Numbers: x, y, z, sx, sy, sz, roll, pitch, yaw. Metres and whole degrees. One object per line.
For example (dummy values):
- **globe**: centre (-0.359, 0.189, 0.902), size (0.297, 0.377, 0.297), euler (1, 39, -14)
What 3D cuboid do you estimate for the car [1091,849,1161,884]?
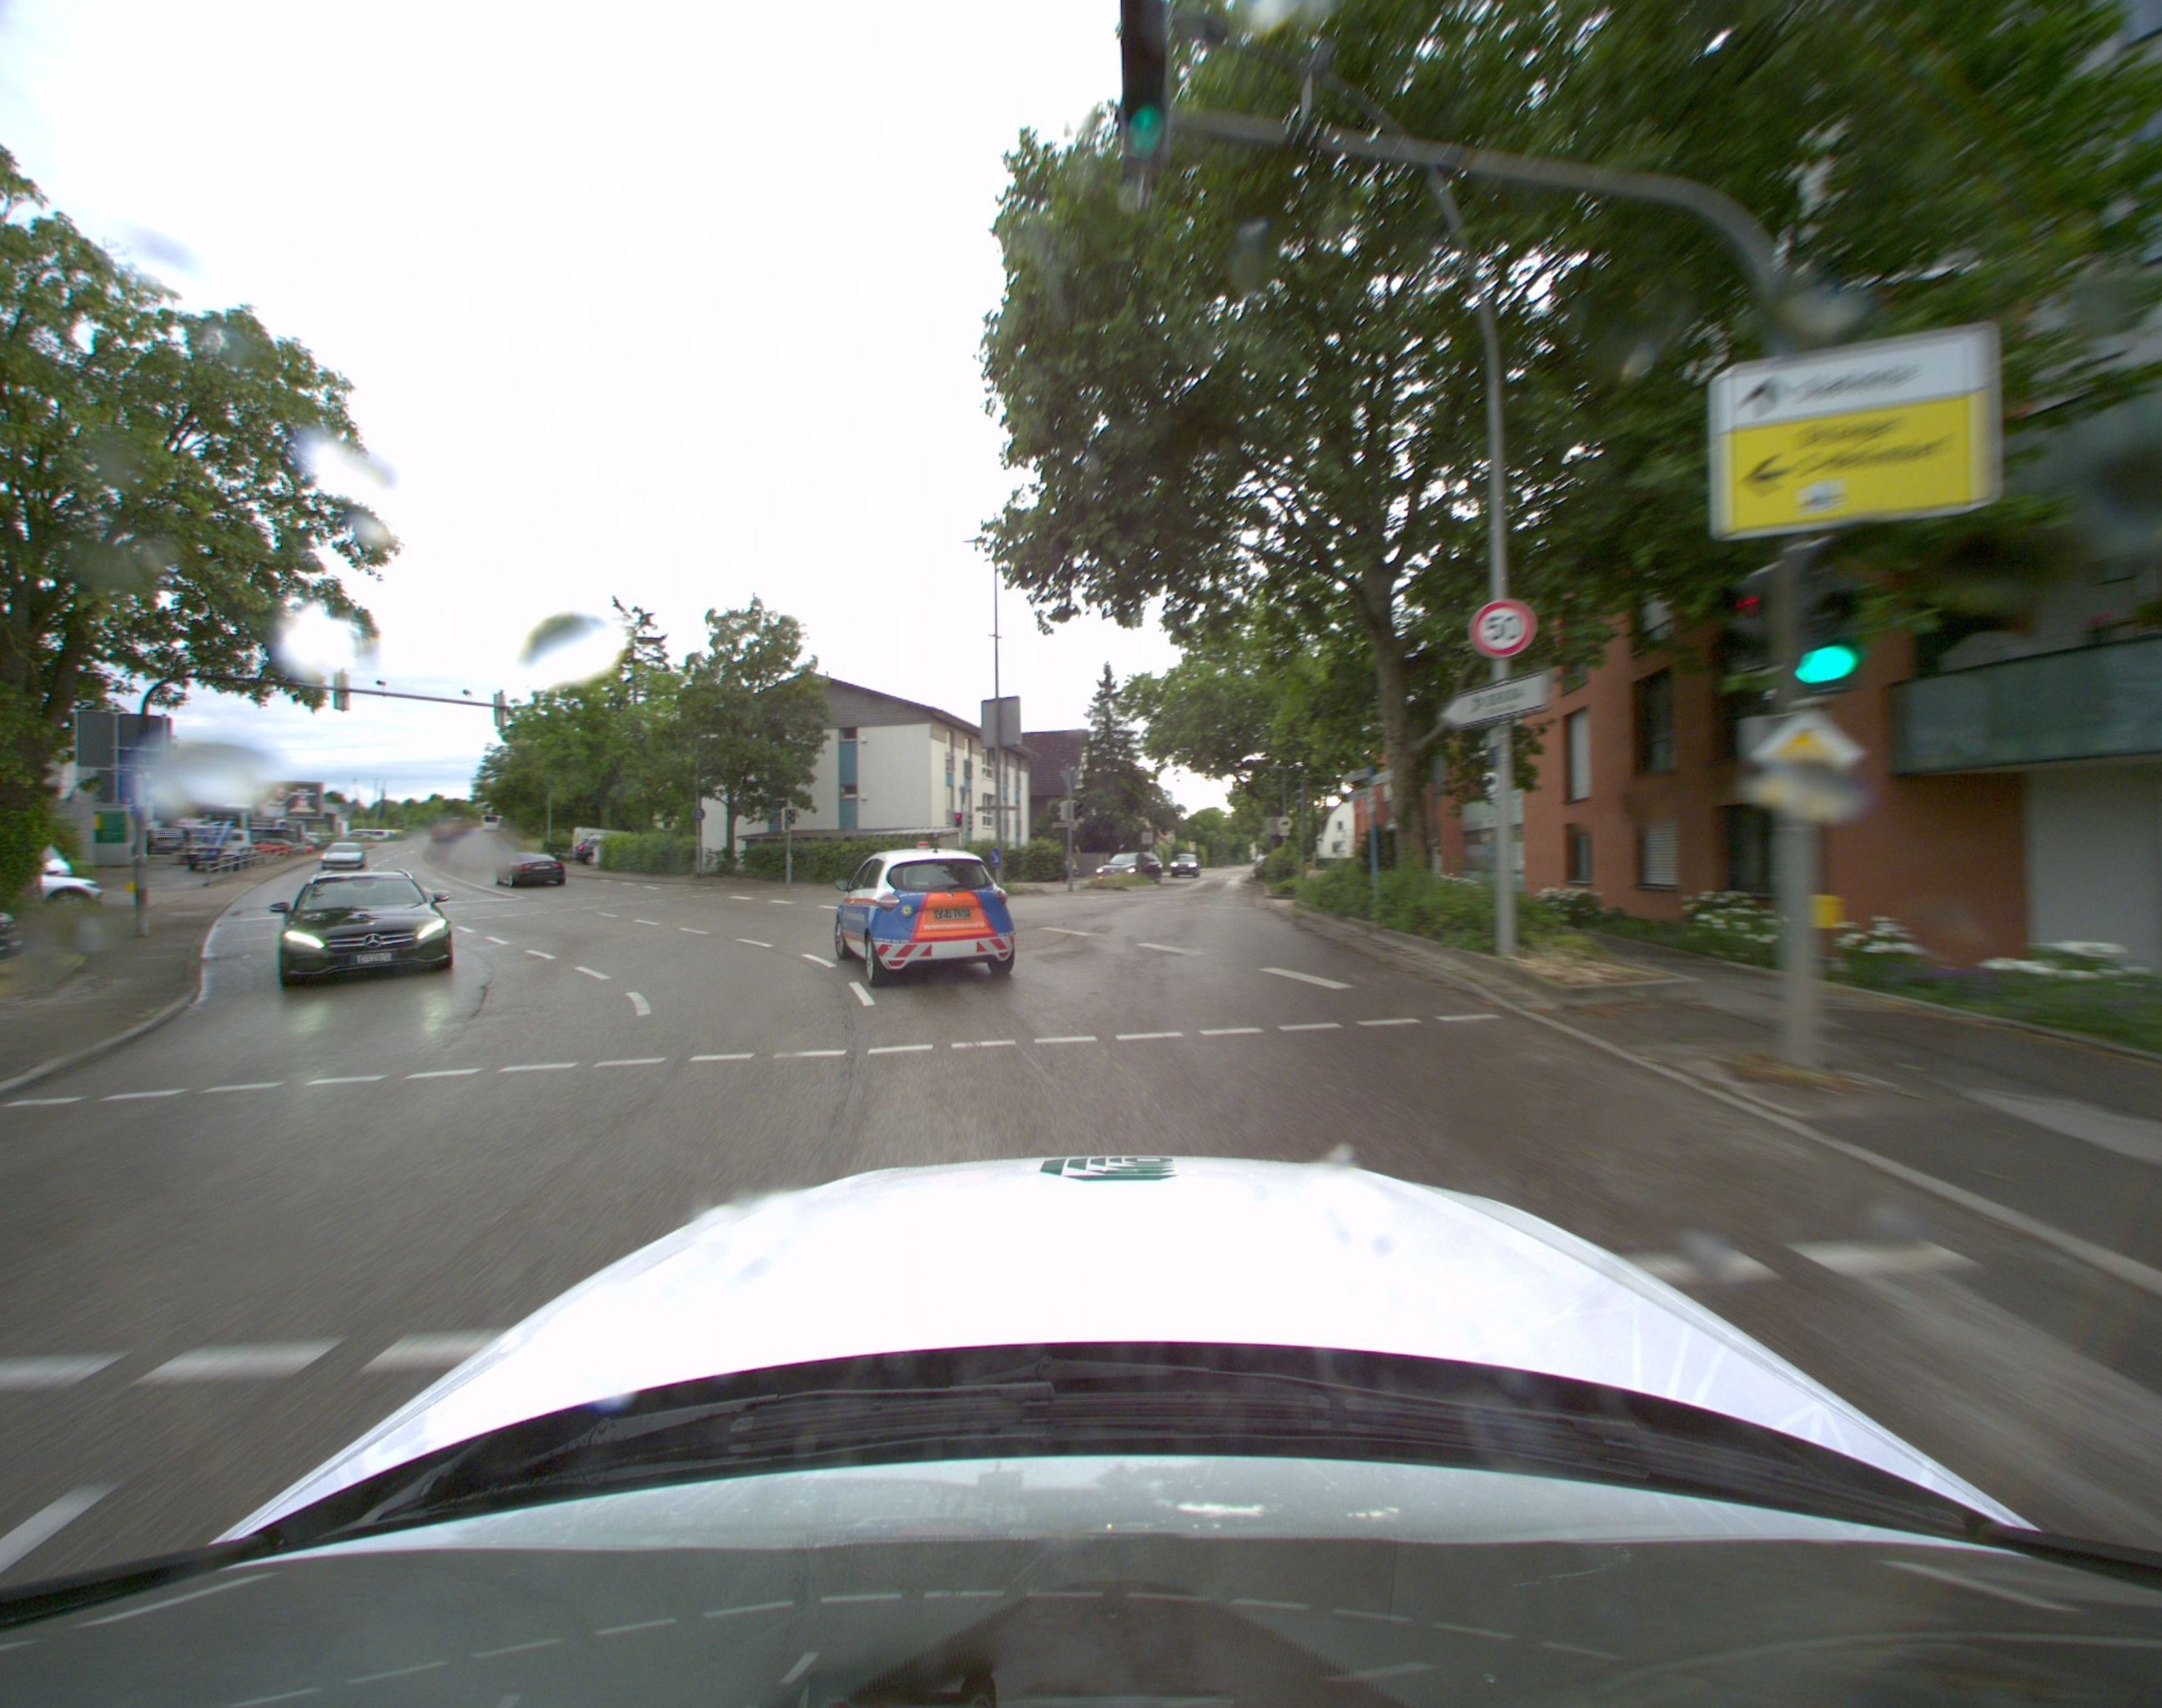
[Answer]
- **car**: centre (2.110, 0.541, 36.696), size (1.925, 1.452, 4.321), euler (1, -1, 21)

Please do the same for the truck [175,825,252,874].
- **truck**: centre (-47.865, -0.271, 45.055), size (2.009, 2.539, 5.496), euler (0, 1, -38)

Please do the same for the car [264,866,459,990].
- **car**: centre (-10.911, 0.982, 12.658), size (1.719, 1.392, 4.303), euler (-3, 2, -35)

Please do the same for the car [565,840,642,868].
- **car**: centre (-30.621, -0.048, 52.287), size (4.019, 1.723, 1.977), euler (-1, 1, -38)

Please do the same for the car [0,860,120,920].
- **car**: centre (-28.370, 0.913, 21.115), size (1.741, 1.522, 4.015), euler (0, -2, 15)

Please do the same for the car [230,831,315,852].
- **car**: centre (-64.906, -1.012, 65.479), size (4.798, 1.623, 1.792), euler (0, 0, -43)

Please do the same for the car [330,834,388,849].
- **car**: centre (-85.329, -1.460, 96.276), size (1.793, 1.623, 4.797), euler (-1, 0, 22)

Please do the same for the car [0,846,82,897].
- **car**: centre (-43.656, 0.670, 33.483), size (3.954, 1.994, 2.010), euler (0, 1, 19)

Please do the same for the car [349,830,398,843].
- **car**: centre (-96.734, -2.358, 111.453), size (1.793, 1.623, 4.797), euler (-1, 0, 22)

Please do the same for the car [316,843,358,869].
- **car**: centre (-41.475, 0.080, 45.379), size (1.601, 1.404, 3.662), euler (-1, 1, -44)

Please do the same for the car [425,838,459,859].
- **car**: centre (-51.266, -0.442, 65.437), size (2.009, 1.684, 3.956), euler (-1, 1, -36)

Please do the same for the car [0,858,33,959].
- **car**: centre (-18.547, 0.865, 11.707), size (4.023, 1.510, 1.736), euler (-1, 1, -43)

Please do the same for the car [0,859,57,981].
- **car**: centre (-16.152, 0.946, 10.051), size (4.020, 1.554, 1.737), euler (-3, 3, -39)

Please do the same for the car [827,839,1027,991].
- **car**: centre (-2.233, 0.657, 10.861), size (1.754, 1.581, 3.968), euler (-2, 0, -24)

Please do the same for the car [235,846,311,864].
- **car**: centre (-62.732, 0.092, 63.271), size (1.791, 1.376, 4.025), euler (-1, 0, 39)

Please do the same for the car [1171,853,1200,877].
- **car**: centre (7.517, 0.742, 58.589), size (1.866, 1.669, 3.724), euler (0, 0, 10)

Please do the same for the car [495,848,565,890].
- **car**: centre (-22.553, 0.570, 33.289), size (2.010, 1.574, 3.954), euler (-1, 1, -39)

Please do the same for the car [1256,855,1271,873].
- **car**: centre (21.027, 1.159, 93.996), size (1.632, 2.017, 3.728), euler (0, 1, 12)
